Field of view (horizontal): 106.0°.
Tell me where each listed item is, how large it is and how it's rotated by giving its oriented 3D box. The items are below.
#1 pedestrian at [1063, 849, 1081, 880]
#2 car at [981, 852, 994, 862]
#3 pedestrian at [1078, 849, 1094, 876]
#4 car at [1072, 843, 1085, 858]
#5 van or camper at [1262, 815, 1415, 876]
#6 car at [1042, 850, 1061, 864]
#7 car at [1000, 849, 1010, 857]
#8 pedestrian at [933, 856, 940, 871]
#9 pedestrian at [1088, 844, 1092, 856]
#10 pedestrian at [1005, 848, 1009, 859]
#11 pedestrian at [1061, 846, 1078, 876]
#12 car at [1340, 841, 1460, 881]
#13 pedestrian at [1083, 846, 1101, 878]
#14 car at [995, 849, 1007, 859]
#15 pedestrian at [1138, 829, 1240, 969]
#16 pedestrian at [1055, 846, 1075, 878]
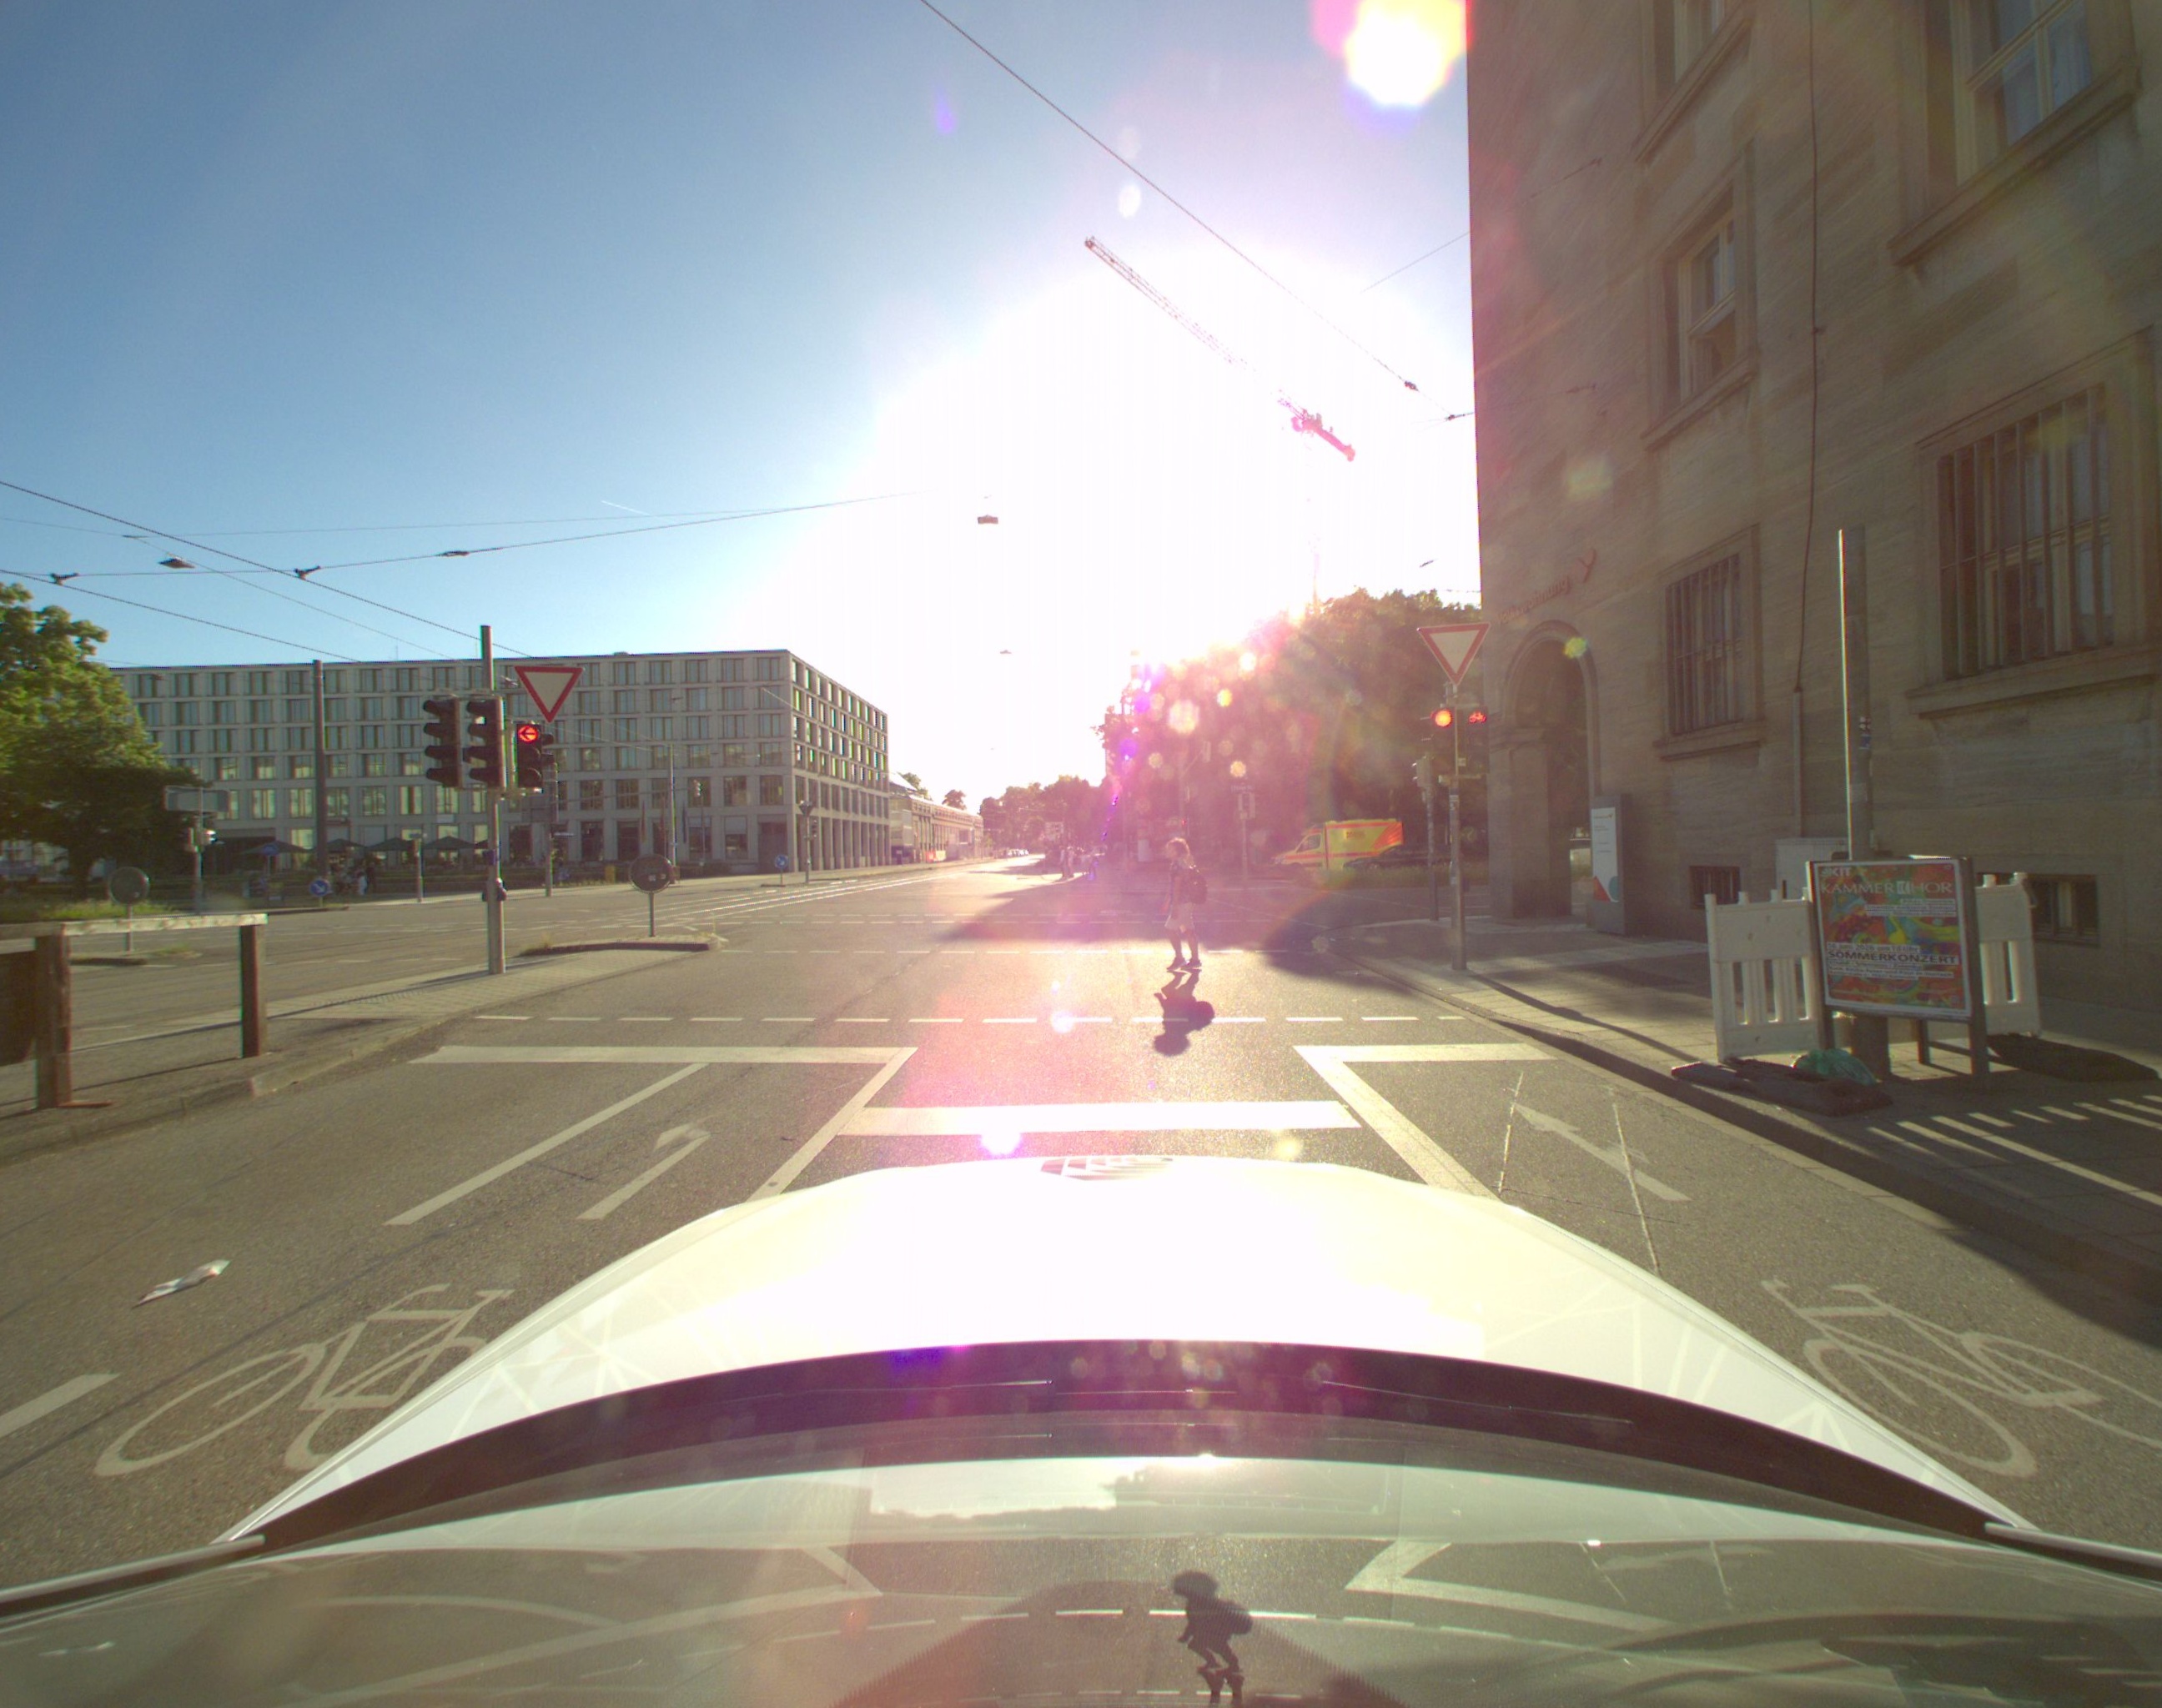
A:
[{"bbox_3d":[-0.554,0.630,47.956,0.849,1.784,0.776,-2,0,-15],"label":"pedestrian"},{"bbox_3d":[-16.759,0.461,146.045,1.812,1.712,3.807,-2,0,2],"label":"car"},{"bbox_3d":[0.286,0.489,48.153,0.763,1.558,0.585,-2,0,-15],"label":"pedestrian"},{"bbox_3d":[-0.326,-0.503,109.386,1.678,1.962,3.510,0,-1,2],"label":"car"},{"bbox_3d":[12.400,-0.376,39.744,6.674,2.861,2.915,0,-1,6],"label":"van or camper"},{"bbox_3d":[-3.023,0.327,84.116,1.678,1.501,3.510,0,-1,2],"label":"car"},{"bbox_3d":[-15.086,-0.129,161.804,1.603,1.498,3.807,-2,0,2],"label":"car"},{"bbox_3d":[-12.923,0.819,72.599,0.509,1.329,0.370,-1,0,3],"label":"pedestrian"},{"bbox_3d":[2.759,-1.195,247.290,1.396,3.597,1.568,0,-1,1],"label":"pedestrian"},{"bbox_3d":[-10.501,-0.045,115.437,0.522,1.484,0.437,0,-1,0],"label":"pedestrian"},{"bbox_3d":[-0.685,0.414,48.828,0.849,1.784,0.776,-2,0,-15],"label":"pedestrian"},{"bbox_3d":[13.252,0.289,33.996,4.297,1.647,1.889,0,-1,2],"label":"car"},{"bbox_3d":[0.642,0.452,47.451,0.849,1.784,0.776,-2,0,-15],"label":"pedestrian"},{"bbox_3d":[-15.514,-0.018,157.901,1.812,1.712,3.807,-2,0,2],"label":"car"},{"bbox_3d":[1.403,0.557,10.799,1.039,1.721,1.032,-2,0,-10],"label":"pedestrian"},{"bbox_3d":[-0.927,0.437,46.397,0.967,1.784,0.776,-2,0,-15],"label":"pedestrian"}]
